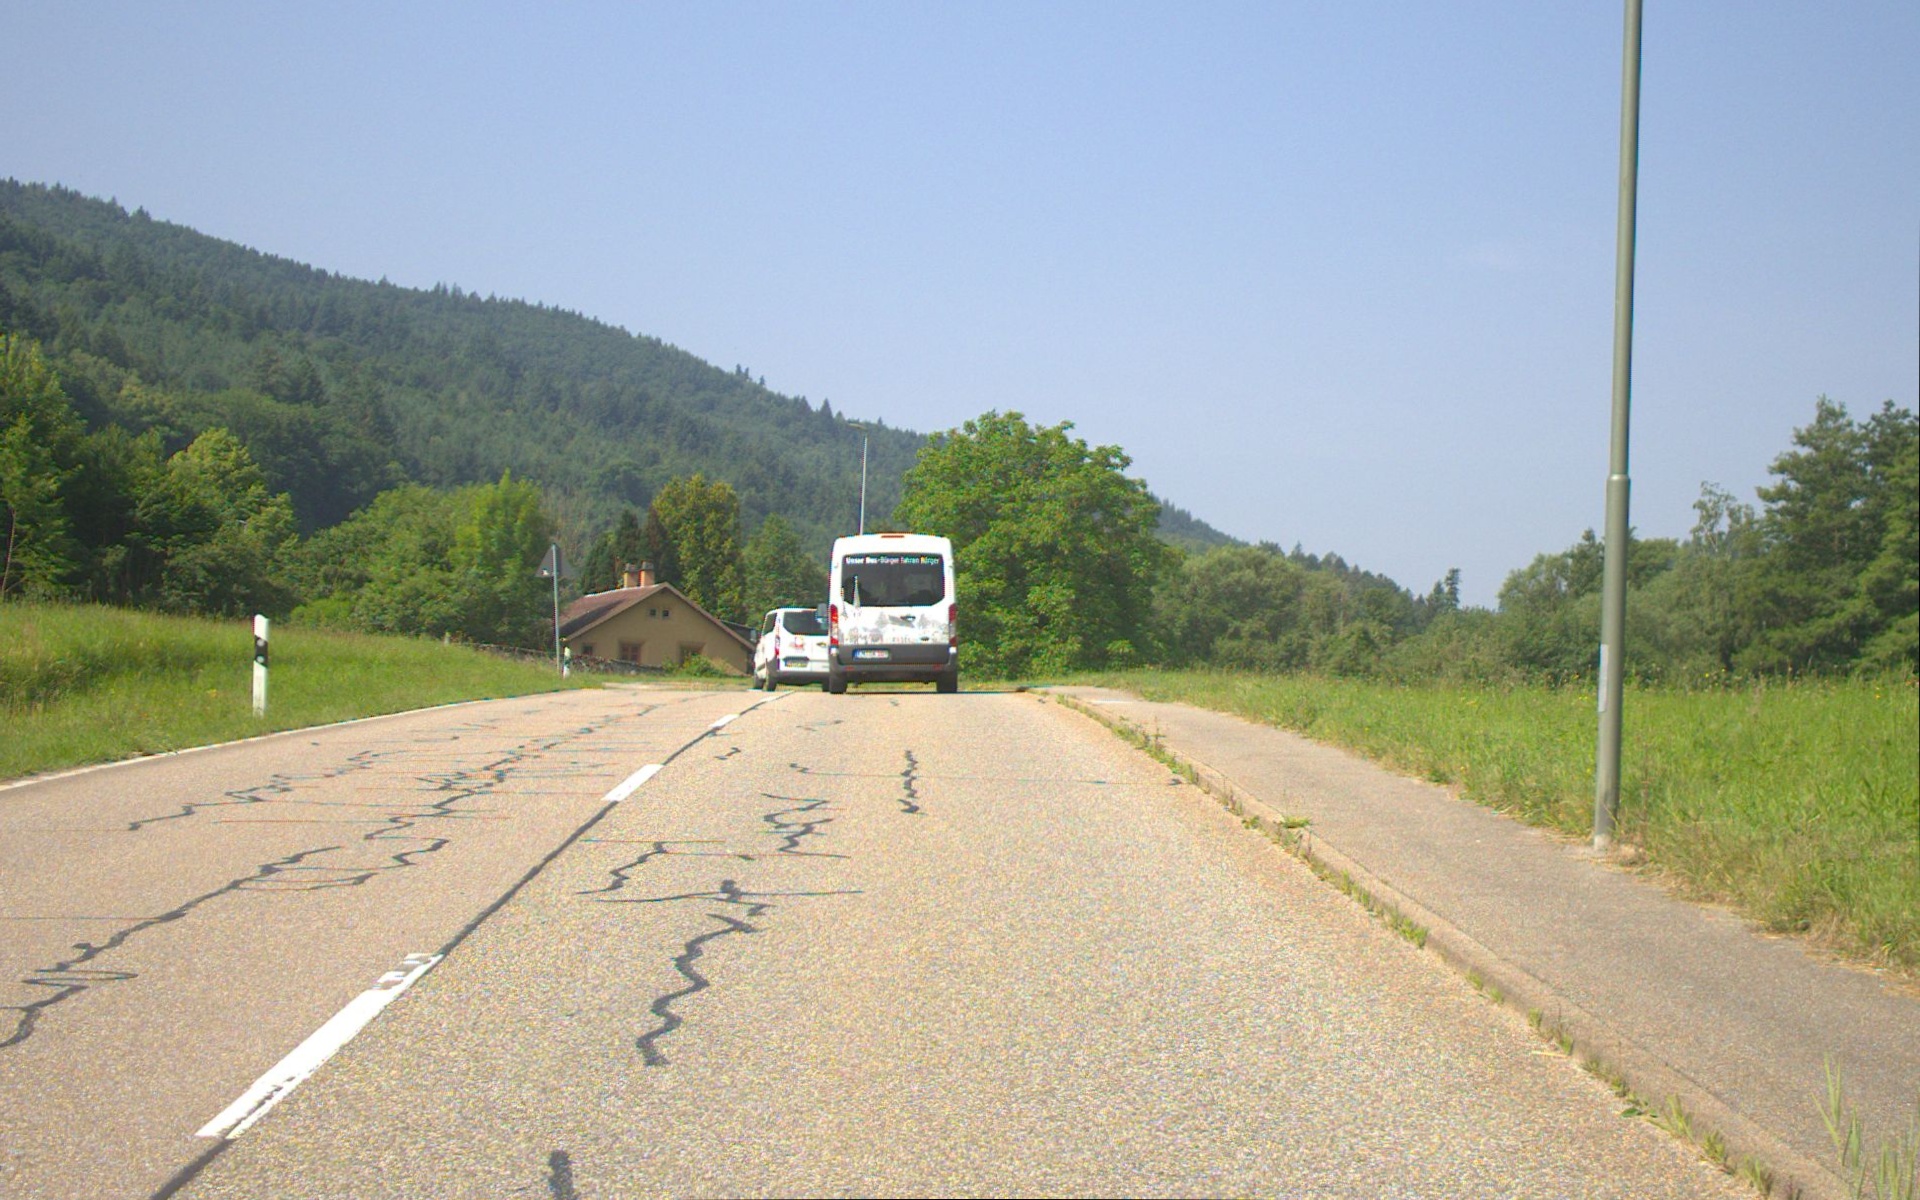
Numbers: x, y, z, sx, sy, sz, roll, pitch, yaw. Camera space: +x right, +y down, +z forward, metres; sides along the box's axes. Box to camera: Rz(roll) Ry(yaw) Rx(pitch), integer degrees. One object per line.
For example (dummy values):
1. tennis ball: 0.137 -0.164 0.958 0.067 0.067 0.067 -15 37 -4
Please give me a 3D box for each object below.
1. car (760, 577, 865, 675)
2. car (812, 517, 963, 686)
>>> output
1. car: -3.668 0.669 84.830 2.222 2.279 4.985 -2 -1 -6
2. car: -1.163 0.071 54.918 2.222 2.517 4.984 -2 -1 -1
